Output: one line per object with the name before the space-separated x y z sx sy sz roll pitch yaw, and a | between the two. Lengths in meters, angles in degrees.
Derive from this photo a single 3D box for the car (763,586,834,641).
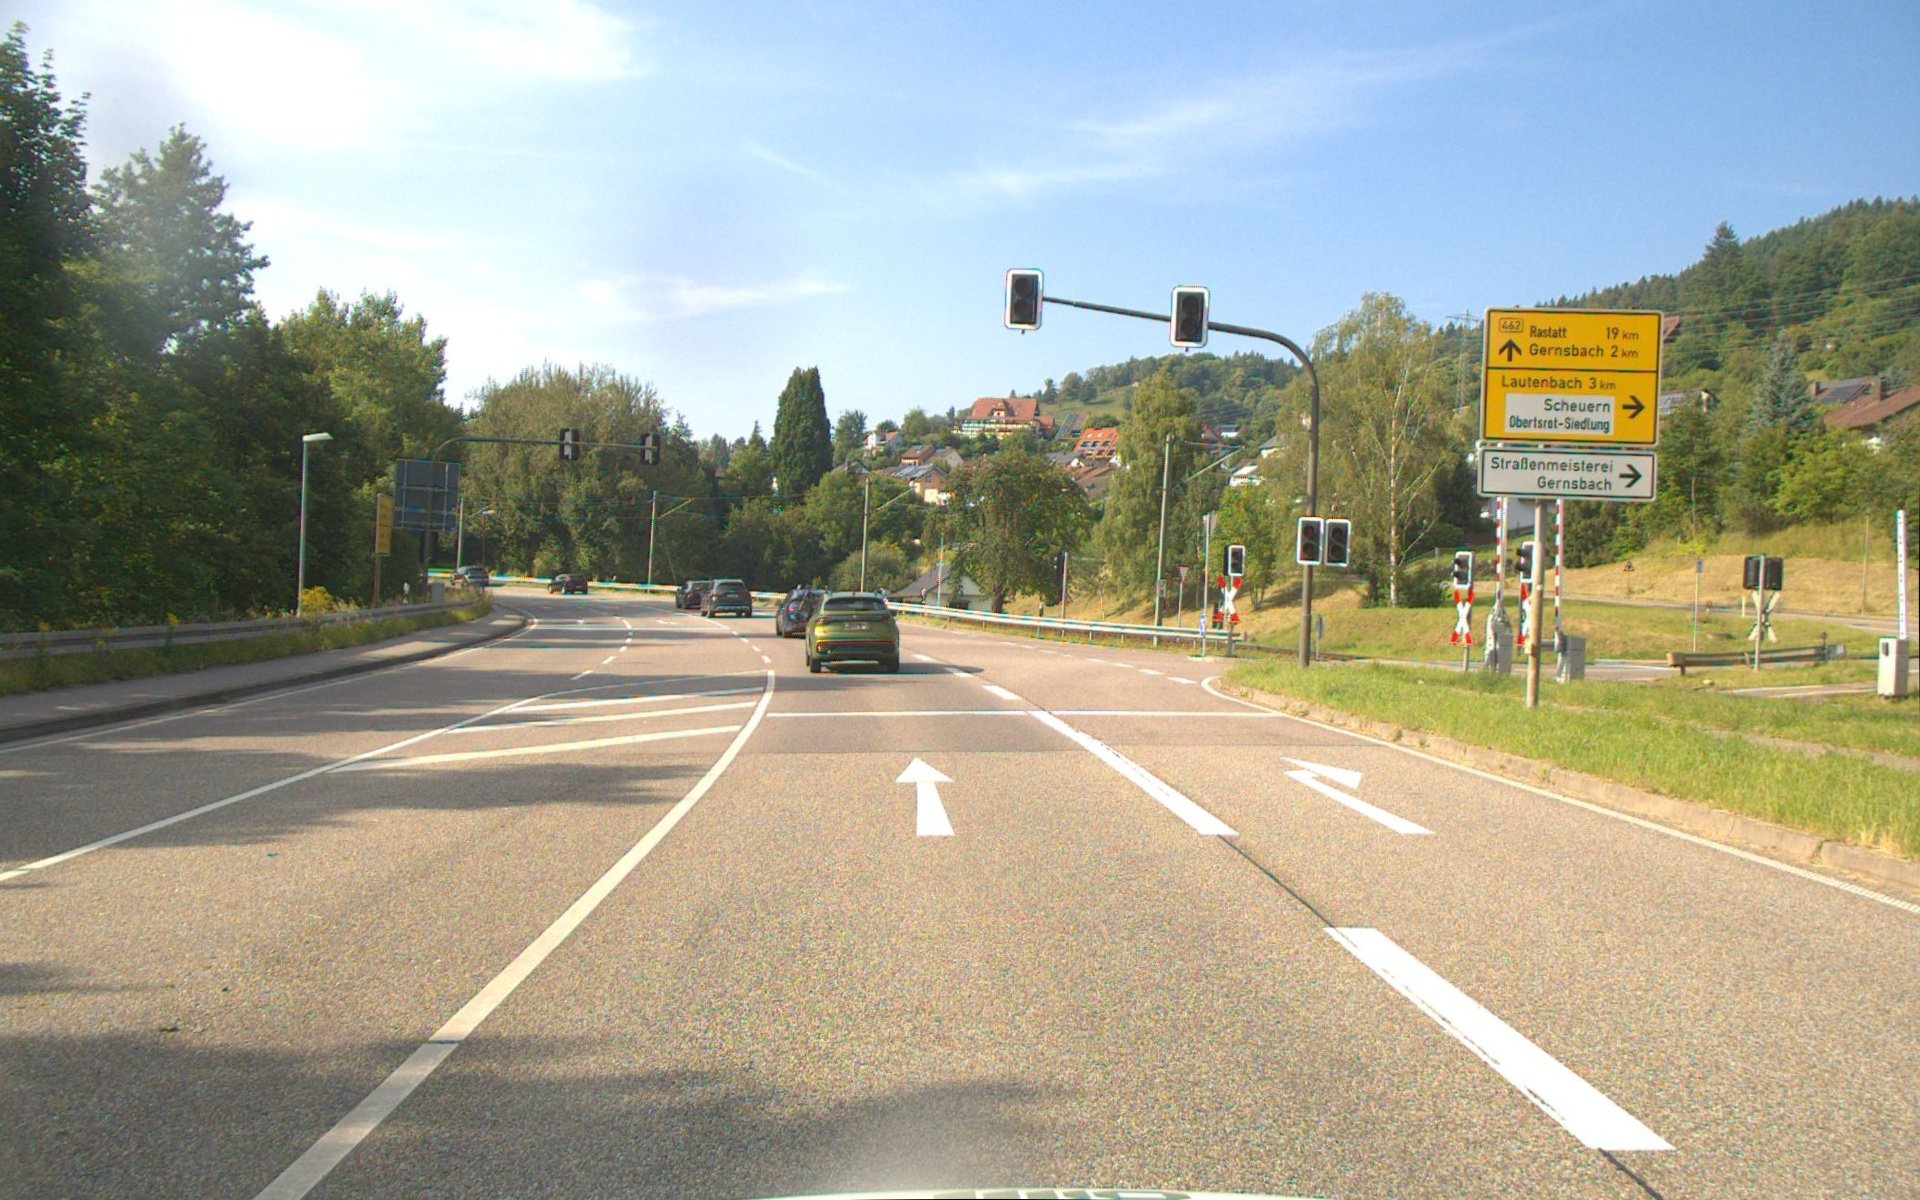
car | -4.937 0.391 50.102 1.638 1.586 3.987 1 0 -13

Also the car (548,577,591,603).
car | -27.493 -0.726 116.308 1.971 1.775 3.963 1 0 -28

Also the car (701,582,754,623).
car | -10.289 0.085 73.027 1.849 1.716 3.984 1 0 -15

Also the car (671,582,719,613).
car | -13.843 -0.134 86.255 1.822 1.553 3.640 1 1 -20

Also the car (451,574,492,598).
car | -39.531 -1.165 133.723 2.046 1.842 3.951 0 2 -35

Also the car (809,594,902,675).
car | -2.033 0.623 32.362 1.680 1.480 3.997 0 0 -3
